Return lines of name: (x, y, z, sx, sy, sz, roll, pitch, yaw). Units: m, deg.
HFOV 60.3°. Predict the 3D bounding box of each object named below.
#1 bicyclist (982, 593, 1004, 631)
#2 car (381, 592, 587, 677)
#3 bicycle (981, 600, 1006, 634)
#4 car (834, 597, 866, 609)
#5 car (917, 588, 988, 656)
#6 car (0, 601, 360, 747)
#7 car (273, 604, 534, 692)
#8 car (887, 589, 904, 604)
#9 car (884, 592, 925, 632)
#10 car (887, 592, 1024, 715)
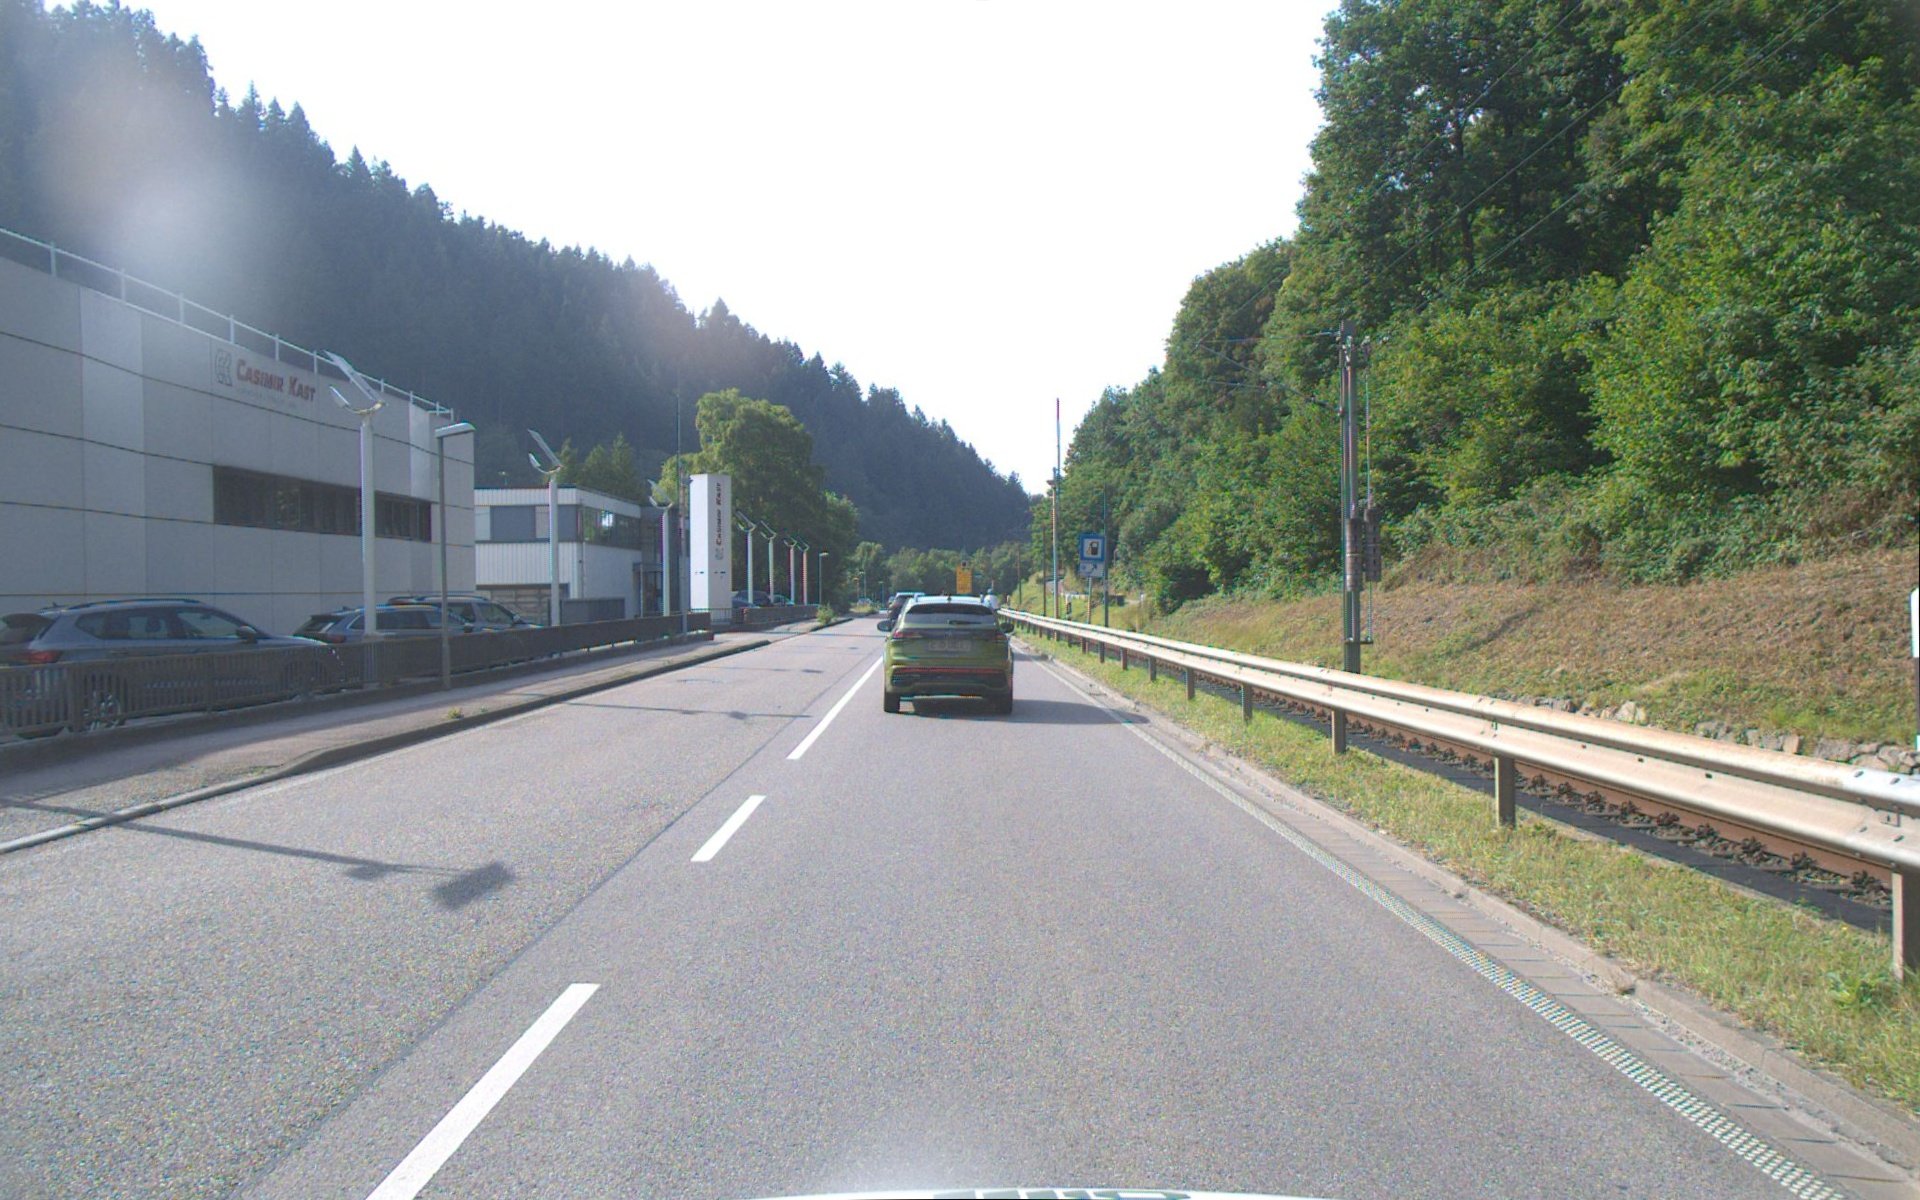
bicyclist: (1.252, 0.462, 62.675, 0.766, 1.436, 0.674, 0, 0, -3)
car: (-10.337, 0.704, 36.131, 1.749, 1.738, 4.088, 0, 0, 40)
bicycle: (1.252, 0.630, 62.454, 0.795, 1.272, 2.121, 0, 0, -3)
car: (-14.504, 0.385, 218.566, 4.172, 1.458, 1.557, 0, 0, 0)
car: (-0.242, 0.531, 42.038, 1.704, 1.630, 3.999, 0, 0, -2)
car: (-9.930, 0.830, 20.802, 1.854, 1.619, 4.152, 0, 0, 40)
car: (-10.602, 0.862, 31.779, 1.854, 1.521, 4.464, 0, 0, 40)
car: (-6.590, -0.386, 169.941, 1.643, 1.511, 4.245, 1, 0, -1)
car: (-2.348, 0.486, 70.703, 1.704, 1.630, 3.999, 0, 0, -2)
car: (-0.112, 0.661, 22.593, 1.704, 1.534, 3.999, 0, 0, -2)
